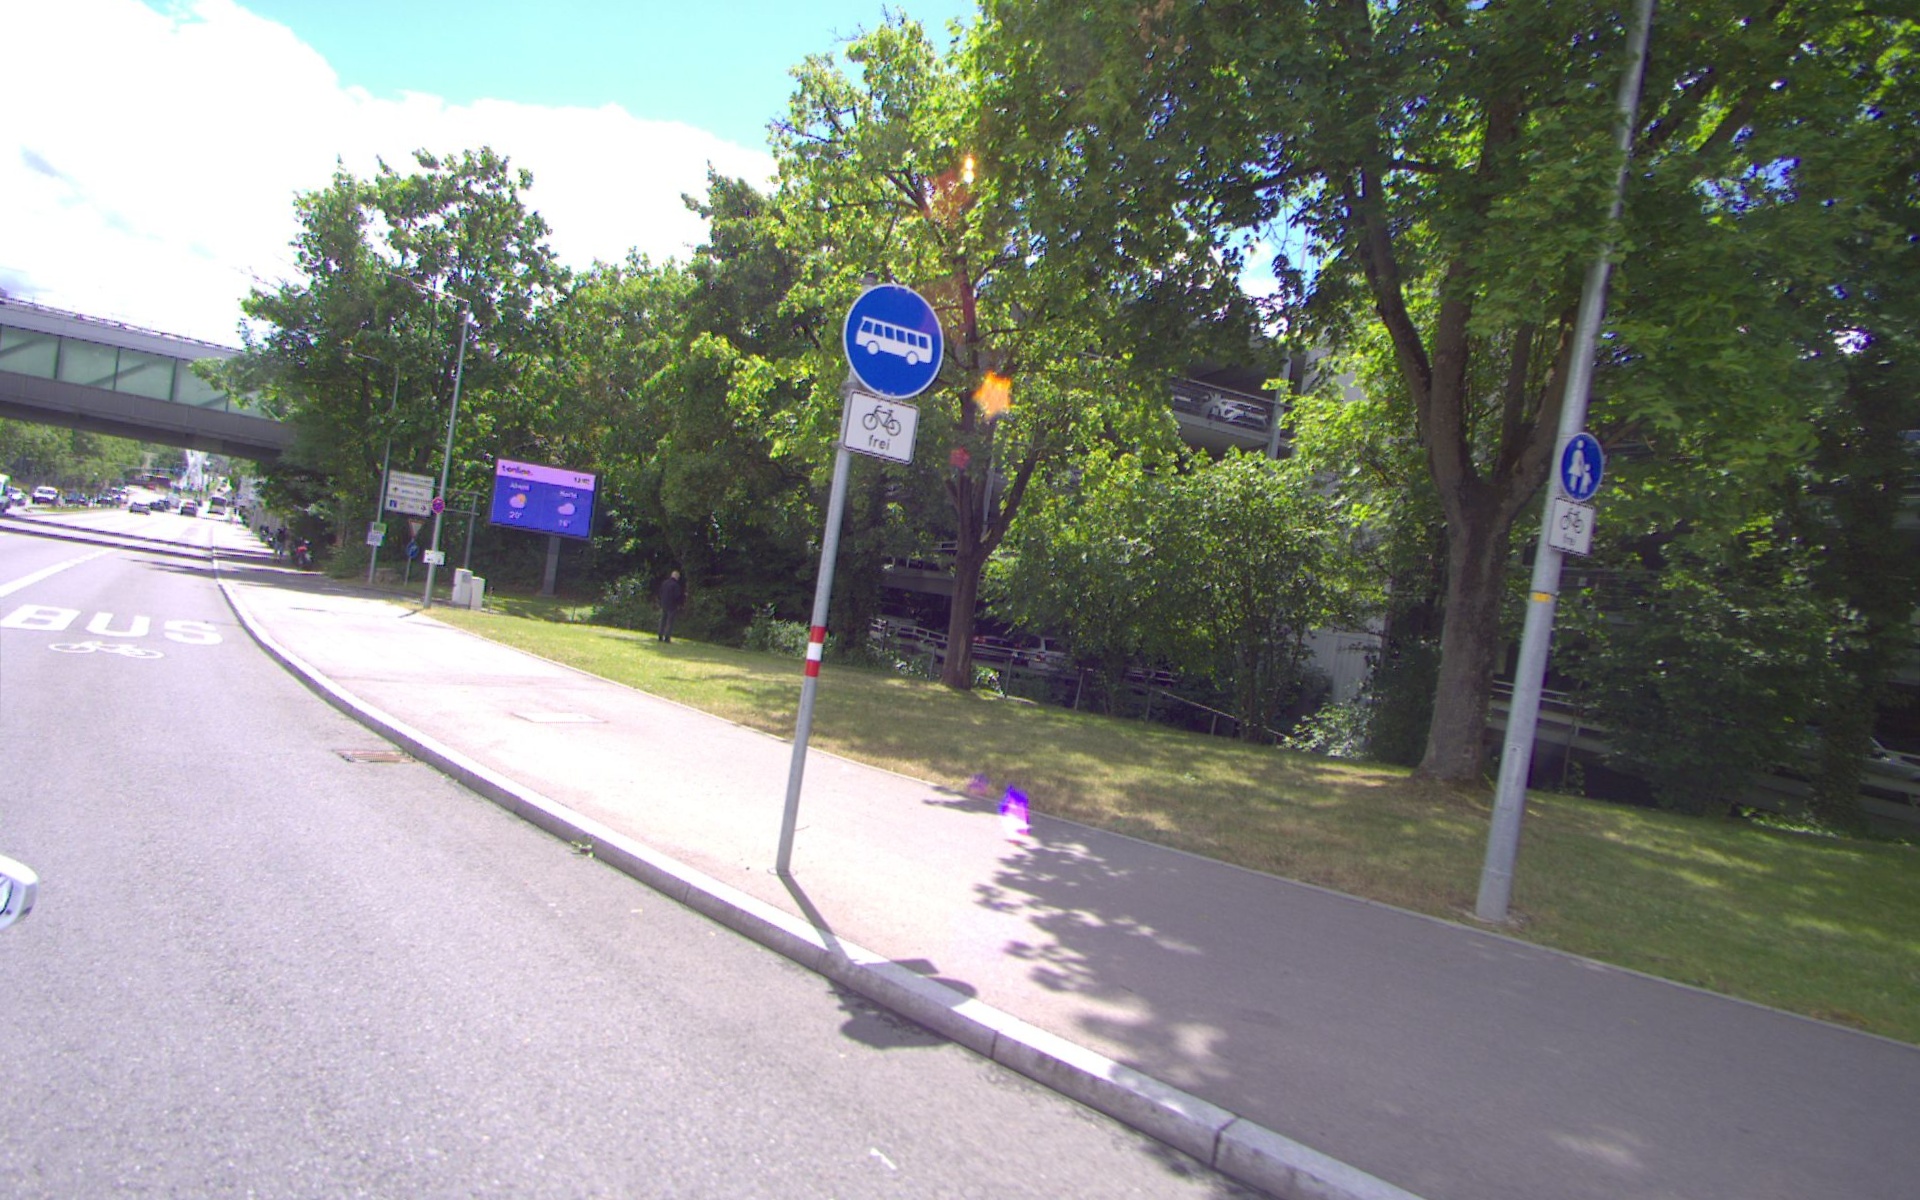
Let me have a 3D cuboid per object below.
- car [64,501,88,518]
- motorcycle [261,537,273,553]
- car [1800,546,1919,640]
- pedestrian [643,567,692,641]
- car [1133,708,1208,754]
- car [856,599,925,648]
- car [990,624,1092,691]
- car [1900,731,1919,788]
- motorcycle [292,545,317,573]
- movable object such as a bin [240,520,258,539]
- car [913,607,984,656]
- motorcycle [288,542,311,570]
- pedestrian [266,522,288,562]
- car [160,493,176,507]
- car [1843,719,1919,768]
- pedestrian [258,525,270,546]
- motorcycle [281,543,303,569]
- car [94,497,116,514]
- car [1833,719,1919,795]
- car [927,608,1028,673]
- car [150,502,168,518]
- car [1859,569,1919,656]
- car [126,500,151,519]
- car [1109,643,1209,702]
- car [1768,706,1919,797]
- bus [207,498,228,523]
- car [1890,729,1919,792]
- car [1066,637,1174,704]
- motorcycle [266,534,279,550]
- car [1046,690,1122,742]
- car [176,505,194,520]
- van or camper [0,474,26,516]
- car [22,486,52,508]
[{"bbox_3d":[-107.059,-10.939,121.892,1.693,1.718,3.884,9,-2,-37],"label":"car"},{"bbox_3d":[-52.681,-4.213,76.439,0.560,1.042,2.601,6,1,-38],"label":"motorcycle"},{"bbox_3d":[18.956,-0.101,19.421,1.704,1.559,3.689,11,0,-17],"label":"car"},{"bbox_3d":[-7.258,0.104,24.962,0.760,1.740,0.590,9,2,25],"label":"pedestrian"},{"bbox_3d":[9.365,5.845,45.046,1.551,1.429,3.610,8,-2,-18],"label":"car"},{"bbox_3d":[-2.917,0.931,41.398,1.752,1.490,4.122,9,0,-17],"label":"car"},{"bbox_3d":[2.468,1.751,31.636,1.752,1.490,3.782,9,0,-17],"label":"car"},{"bbox_3d":[24.227,4.054,22.790,1.752,1.308,3.782,10,0,-17],"label":"car"},{"bbox_3d":[-28.679,-1.805,44.003,0.545,1.123,1.995,8,-1,-40],"label":"motorcycle"},{"bbox_3d":[-93.719,-9.249,132.581,1.654,2.157,1.267,9,-1,-32],"label":"movable object such as a bin"},{"bbox_3d":[-0.527,1.262,41.630,1.752,1.490,3.782,9,0,-17],"label":"car"},{"bbox_3d":[-30.200,-2.020,45.976,0.545,1.123,1.995,8,-1,-40],"label":"motorcycle"},{"bbox_3d":[-33.710,-2.857,49.640,0.620,1.880,0.863,8,-1,-39],"label":"pedestrian"},{"bbox_3d":[-141.765,-17.905,180.079,1.865,2.039,3.651,8,3,-38],"label":"car"},{"bbox_3d":[36.028,5.587,37.809,1.752,1.409,3.782,10,0,-17],"label":"car"},{"bbox_3d":[-59.040,-5.480,85.373,0.618,1.639,0.738,8,4,-38],"label":"pedestrian"},{"bbox_3d":[-32.045,-2.132,48.261,0.545,1.123,1.995,8,-1,-40],"label":"motorcycle"},{"bbox_3d":[-122.724,-13.504,144.367,1.984,2.037,3.959,8,-1,-37],"label":"car"},{"bbox_3d":[20.607,3.486,20.485,1.752,1.308,3.782,10,0,-17],"label":"car"},{"bbox_3d":[0.465,1.210,31.342,1.633,1.613,4.377,8,-2,-18],"label":"car"},{"bbox_3d":[-119.380,-13.425,149.949,1.849,1.728,3.954,8,4,-38],"label":"car"},{"bbox_3d":[20.769,0.360,20.083,1.704,1.559,3.689,11,0,-17],"label":"car"},{"bbox_3d":[-101.064,-11.158,123.790,1.920,1.794,3.956,9,3,-37],"label":"car"},{"bbox_3d":[6.701,2.417,34.173,1.610,1.541,3.610,8,-2,-18],"label":"car"},{"bbox_3d":[18.563,3.125,19.736,1.752,1.308,3.782,10,0,-17],"label":"car"},{"bbox_3d":[-144.703,-17.498,195.939,2.784,3.801,9.361,8,3,-38],"label":"bus"},{"bbox_3d":[22.530,3.805,21.218,1.752,1.308,3.782,10,0,-17],"label":"car"},{"bbox_3d":[5.058,2.217,32.316,1.752,1.490,3.782,9,0,-17],"label":"car"},{"bbox_3d":[-50.181,-4.241,73.410,0.560,1.042,2.601,6,1,-38],"label":"motorcycle"},{"bbox_3d":[5.376,5.051,43.989,1.732,1.657,3.610,8,-2,-18],"label":"car"},{"bbox_3d":[-116.886,-13.217,151.794,1.985,1.882,3.958,8,-1,-38],"label":"car"},{"bbox_3d":[-61.689,-6.809,64.243,1.998,2.429,6.336,8,-1,-36],"label":"van or camper"},{"bbox_3d":[-91.549,-10.197,99.801,1.693,1.718,3.884,9,-2,-37],"label":"car"}]
